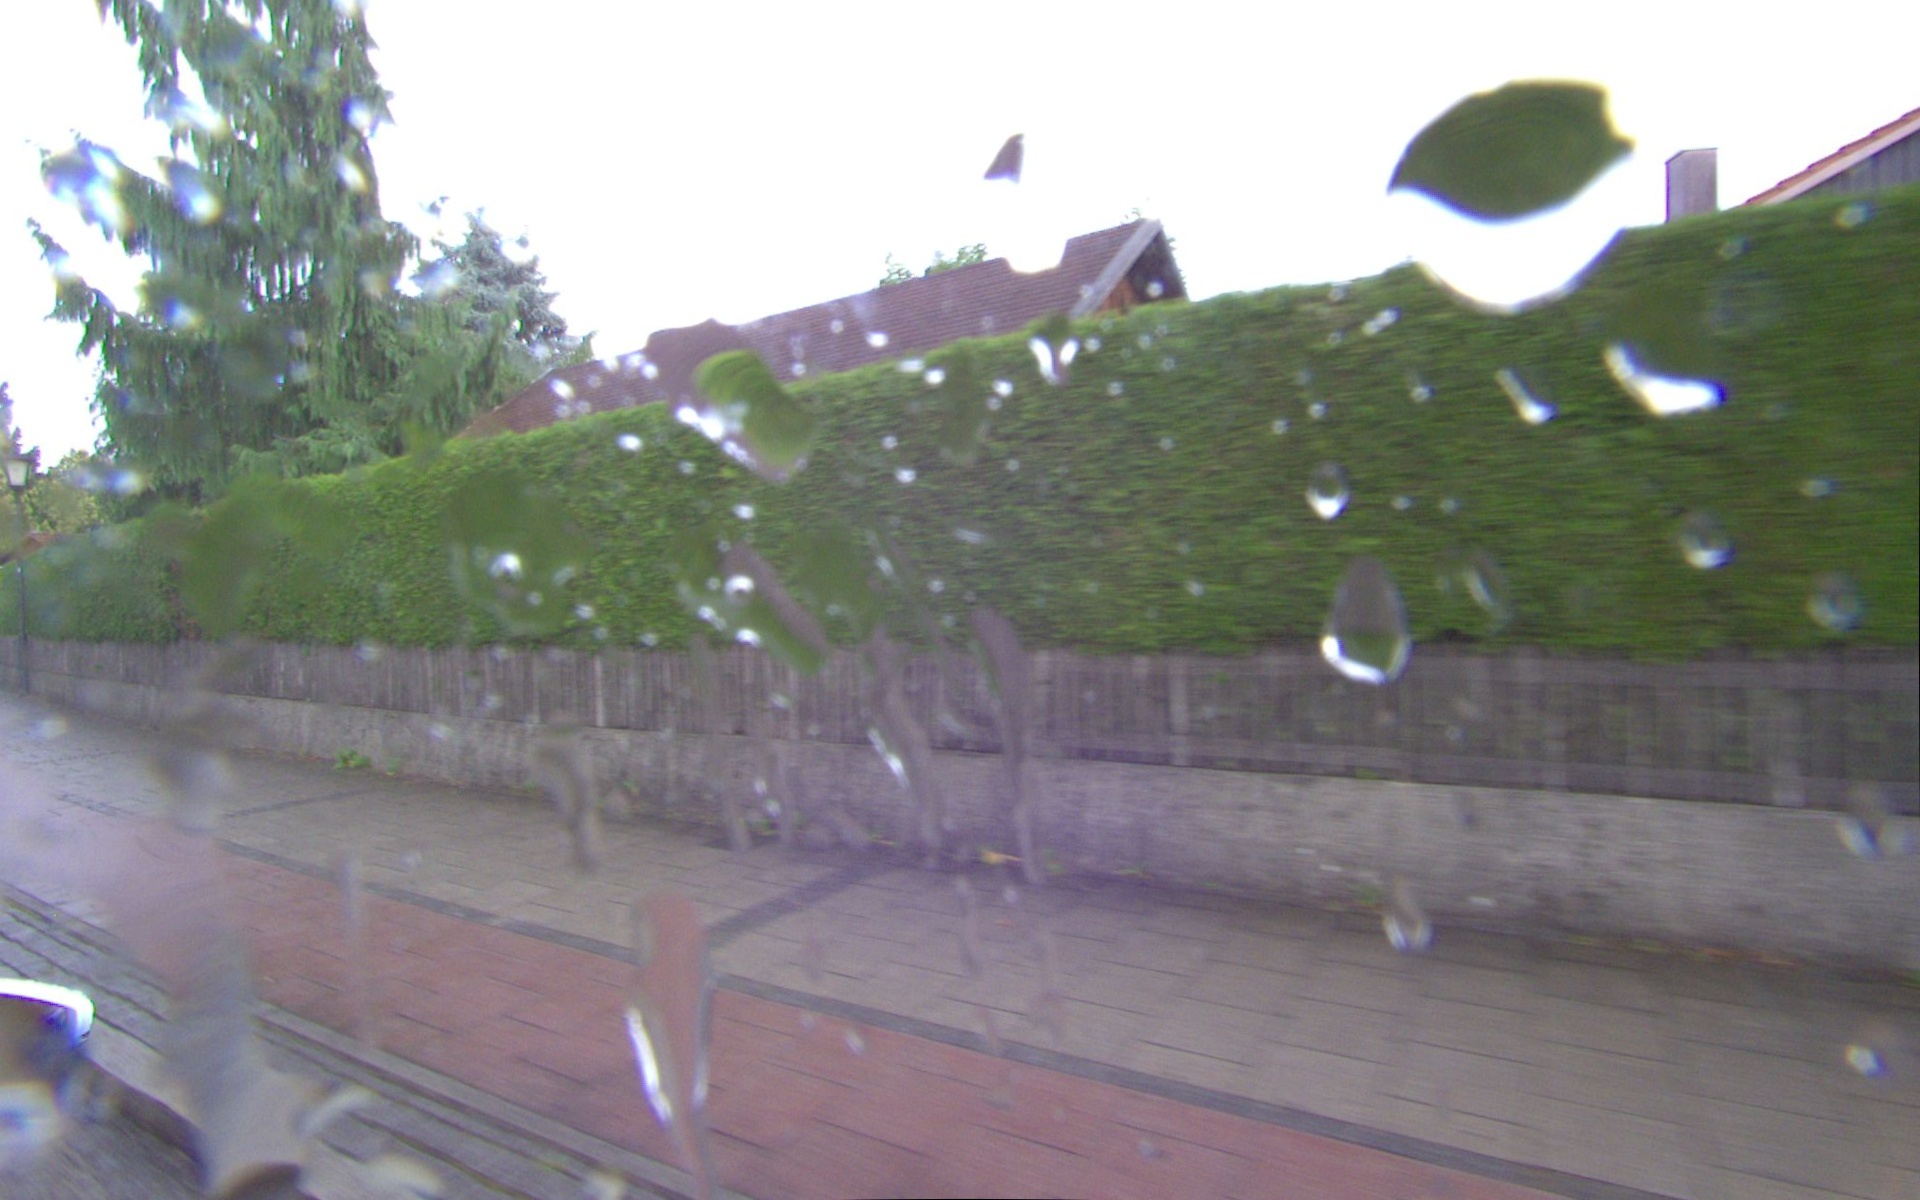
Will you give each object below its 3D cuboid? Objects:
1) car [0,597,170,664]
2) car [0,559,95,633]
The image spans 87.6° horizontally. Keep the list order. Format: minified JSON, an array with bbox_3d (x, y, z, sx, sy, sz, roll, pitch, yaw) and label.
[{"bbox_3d":[-25.764,0.826,29.140,1.672,1.776,4.079,2,2,36],"label":"car"},{"bbox_3d":[-30.218,-0.064,32.151,4.874,2.201,1.993,-1,-2,27],"label":"car"}]
